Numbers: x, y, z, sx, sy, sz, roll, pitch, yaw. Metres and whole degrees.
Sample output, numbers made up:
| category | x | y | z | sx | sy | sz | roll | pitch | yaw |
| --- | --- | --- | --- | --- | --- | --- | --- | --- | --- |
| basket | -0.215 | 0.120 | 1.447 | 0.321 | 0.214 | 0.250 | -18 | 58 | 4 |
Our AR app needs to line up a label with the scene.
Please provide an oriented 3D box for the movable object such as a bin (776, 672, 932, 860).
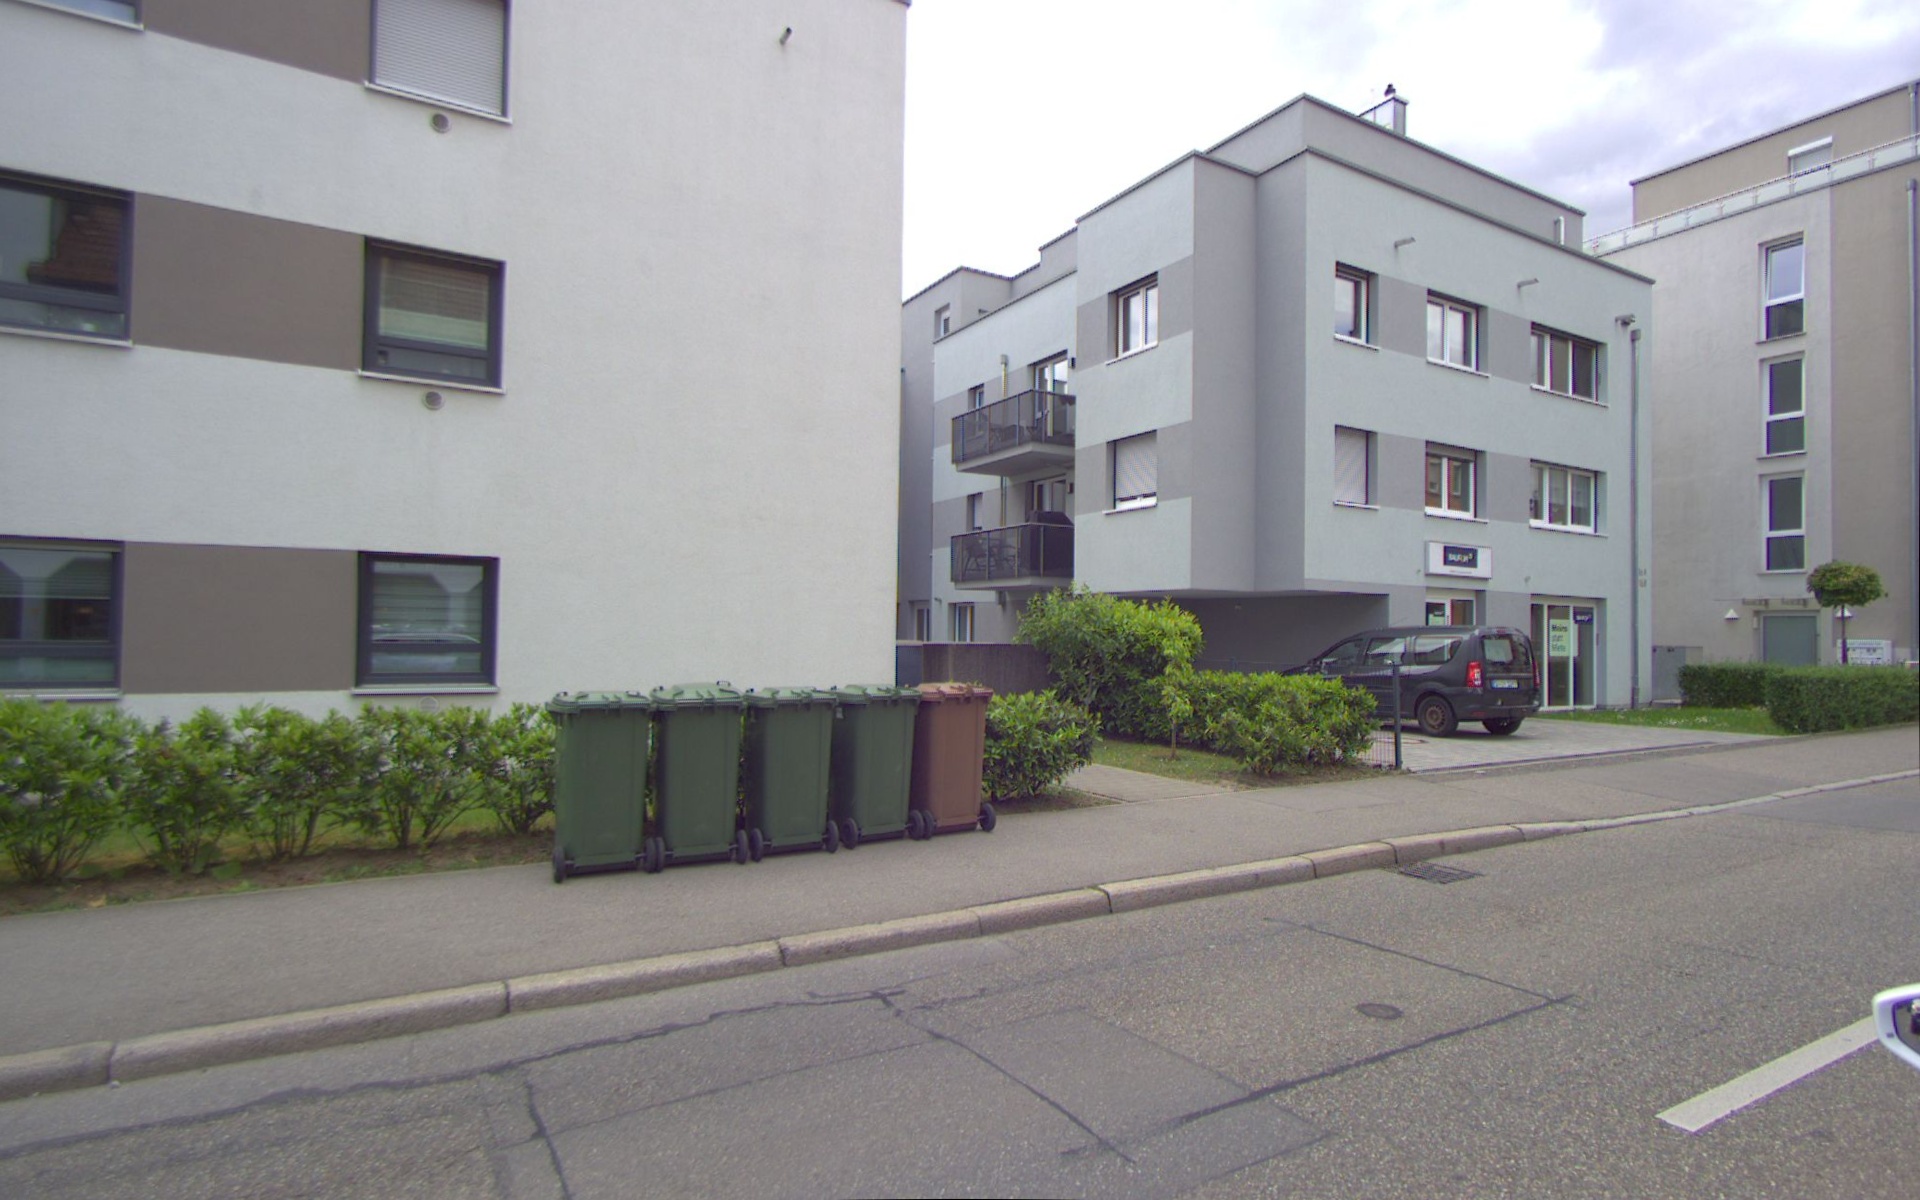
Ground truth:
| category | x | y | z | sx | sy | sz | roll | pitch | yaw |
| --- | --- | --- | --- | --- | --- | --- | --- | --- | --- |
| movable object such as a bin | -0.762 | 1.114 | 7.107 | 0.741 | 1.166 | 0.942 | 2 | -2 | -34 |

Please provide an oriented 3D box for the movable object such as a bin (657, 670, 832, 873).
| category | x | y | z | sx | sy | sz | roll | pitch | yaw |
| --- | --- | --- | --- | --- | --- | --- | --- | --- | --- |
| movable object such as a bin | -1.437 | 1.070 | 6.647 | 0.832 | 1.166 | 0.950 | 2 | -2 | -34 |

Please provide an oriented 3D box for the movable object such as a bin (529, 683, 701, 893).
| category | x | y | z | sx | sy | sz | roll | pitch | yaw |
| --- | --- | --- | --- | --- | --- | --- | --- | --- | --- |
| movable object such as a bin | -2.131 | 1.092 | 6.173 | 0.785 | 1.103 | 0.889 | 2 | -2 | -34 |

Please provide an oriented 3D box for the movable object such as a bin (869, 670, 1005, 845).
| category | x | y | z | sx | sy | sz | roll | pitch | yaw |
| --- | --- | --- | --- | --- | --- | --- | --- | --- | --- |
| movable object such as a bin | -0.183 | 1.124 | 7.490 | 0.606 | 1.166 | 0.935 | 2 | -2 | -34 |

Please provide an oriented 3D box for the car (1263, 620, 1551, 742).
| category | x | y | z | sx | sy | sz | roll | pitch | yaw |
| --- | --- | --- | --- | --- | --- | --- | --- | --- | --- |
| car | 6.994 | 1.207 | 16.187 | 1.702 | 1.689 | 4.150 | 2 | -2 | -26 |
